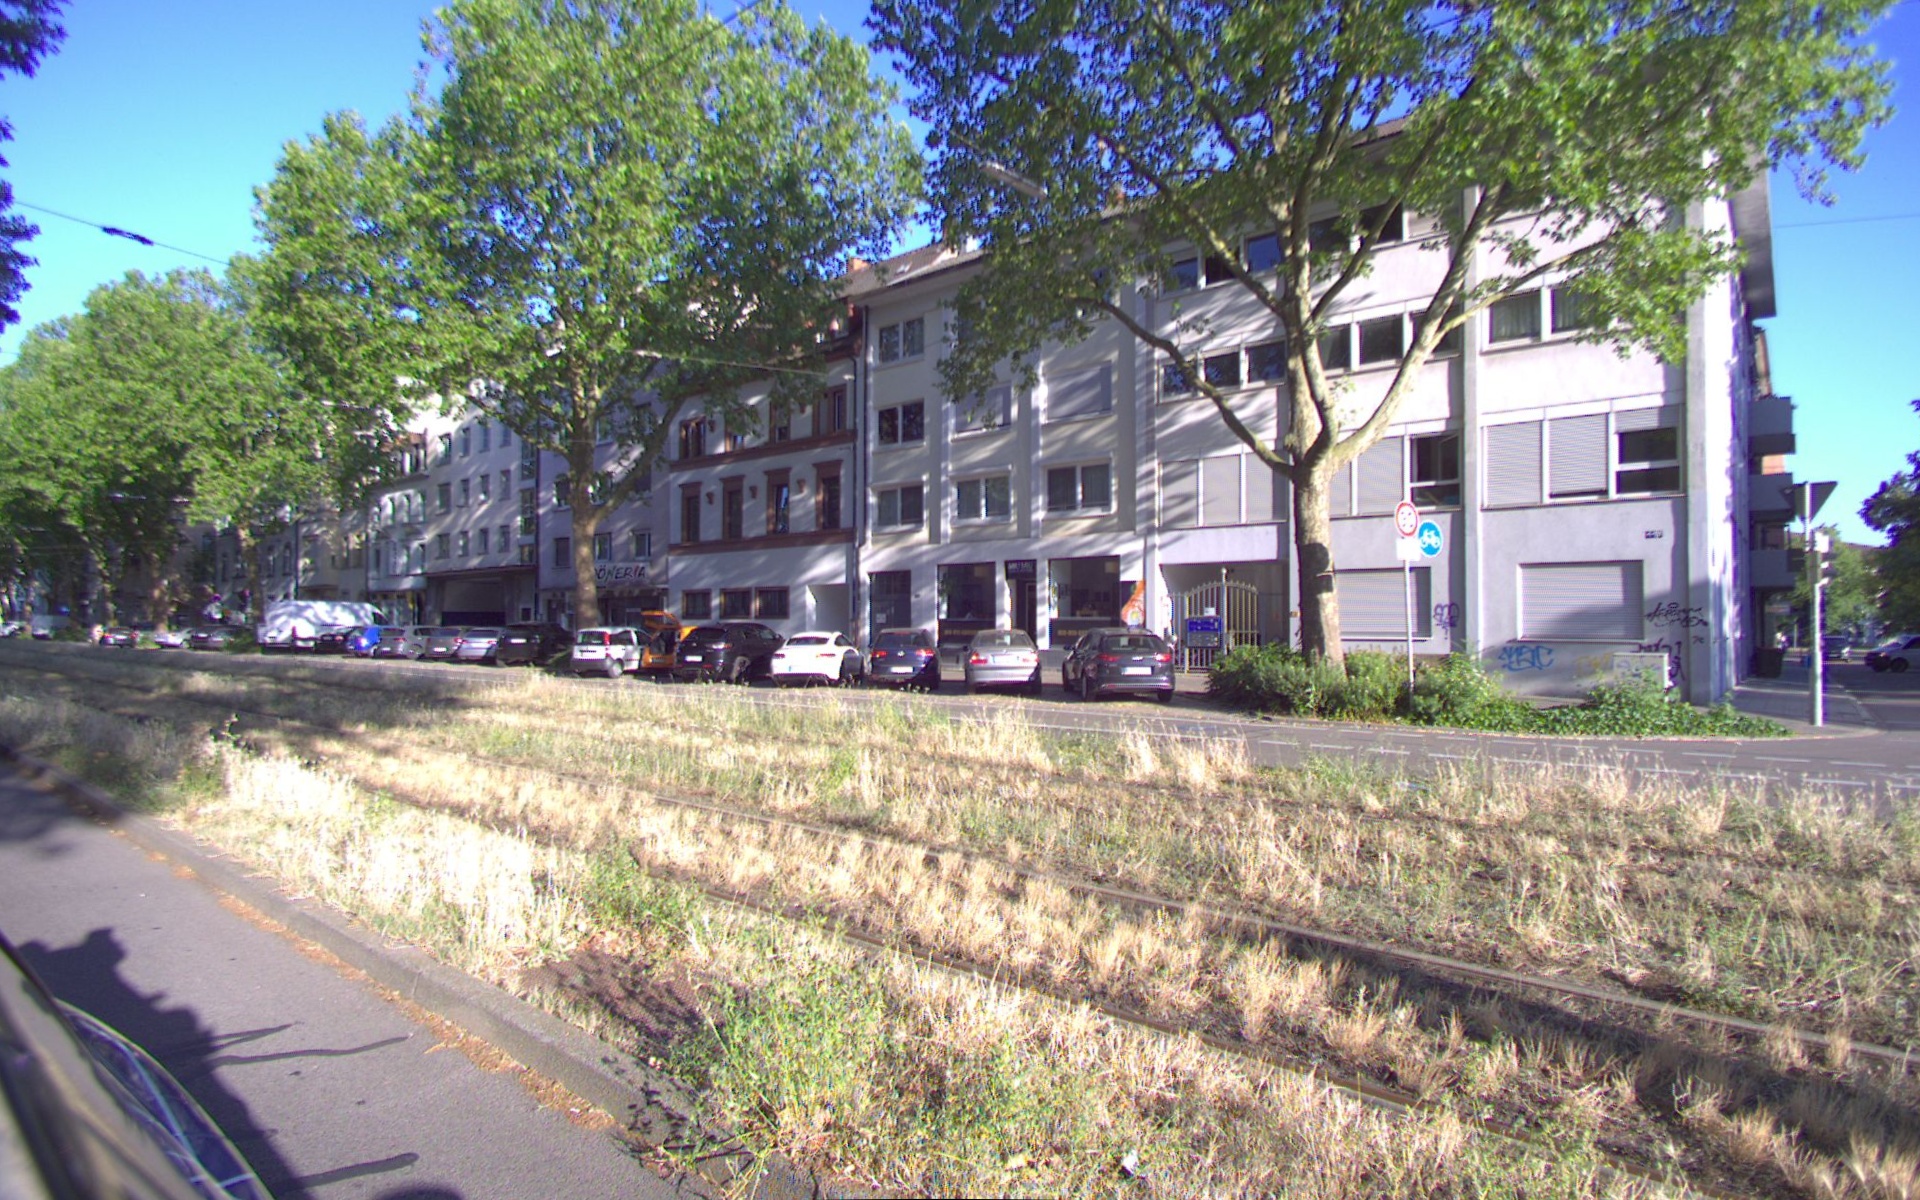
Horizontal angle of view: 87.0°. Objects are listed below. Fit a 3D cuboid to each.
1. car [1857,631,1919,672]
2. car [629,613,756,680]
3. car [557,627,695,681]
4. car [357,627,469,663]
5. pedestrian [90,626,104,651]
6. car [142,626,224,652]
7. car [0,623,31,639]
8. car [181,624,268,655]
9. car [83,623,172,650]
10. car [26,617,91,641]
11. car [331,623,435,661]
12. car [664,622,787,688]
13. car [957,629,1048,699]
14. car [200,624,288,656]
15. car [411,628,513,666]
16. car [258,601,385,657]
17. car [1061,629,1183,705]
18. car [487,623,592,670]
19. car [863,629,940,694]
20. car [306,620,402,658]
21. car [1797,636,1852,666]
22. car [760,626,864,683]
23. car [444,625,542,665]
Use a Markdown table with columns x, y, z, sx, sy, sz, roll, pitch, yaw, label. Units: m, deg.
| x | y | z | sx | sy | sz | roll | pitch | yaw | label |
| --- | --- | --- | --- | --- | --- | --- | --- | --- | --- |
| 49.238 | 2.597 | 51.184 | 5.372 | 2.029 | 1.991 | 0 | -2 | 14 | car |
| -8.294 | 1.426 | 31.733 | 1.508 | 1.958 | 4.221 | -1 | -2 | 25 | car |
| -10.320 | 1.630 | 31.593 | 1.634 | 1.569 | 4.221 | -1 | -2 | 25 | car |
| -23.844 | 1.936 | 44.269 | 1.985 | 1.530 | 3.973 | 0 | -2 | 20 | car |
| -55.883 | 2.518 | 65.525 | 0.422 | 1.610 | 0.612 | -1 | -2 | 41 | pedestrian |
| -51.856 | 2.593 | 67.611 | 1.980 | 1.719 | 3.982 | 0 | -2 | 13 | car |
| -107.264 | 3.453 | 113.891 | 3.937 | 1.827 | 1.876 | 2 | -2 | -40 | car |
| -45.134 | 2.418 | 62.227 | 1.980 | 1.830 | 3.982 | 0 | -2 | 13 | car |
| -55.242 | 2.420 | 67.197 | 1.996 | 1.719 | 4.184 | -1 | -2 | 36 | car |
| -88.312 | 2.848 | 99.247 | 2.071 | 2.230 | 4.943 | 0 | -2 | -2 | car |
| -26.273 | 1.883 | 46.240 | 1.980 | 1.630 | 3.982 | 0 | -2 | 13 | car |
| -6.490 | 1.494 | 28.534 | 2.126 | 1.697 | 4.250 | 0 | -2 | 6 | car |
| 0.887 | 1.400 | 23.261 | 1.717 | 1.443 | 3.973 | -1 | -2 | -2 | car |
| -42.539 | 2.363 | 60.233 | 1.980 | 1.830 | 3.982 | 0 | -2 | 13 | car |
| -20.454 | 1.903 | 41.787 | 1.883 | 1.468 | 4.251 | 0 | -2 | 4 | car |
| -33.041 | 1.503 | 52.607 | 2.161 | 2.721 | 5.583 | 0 | -2 | 16 | car |
| 3.284 | 1.330 | 21.230 | 1.746 | 1.443 | 3.973 | 0 | -2 | -2 | car |
| -15.328 | 1.660 | 37.153 | 1.883 | 1.626 | 4.252 | 0 | -2 | 4 | car |
| -1.451 | 1.484 | 25.615 | 1.805 | 1.516 | 3.973 | 0 | -2 | -2 | car |
| -30.593 | 1.945 | 51.237 | 1.980 | 1.830 | 3.982 | 0 | -2 | 13 | car |
| 62.868 | 3.666 | 73.700 | 1.991 | 2.029 | 5.371 | -1 | -2 | 29 | car |
| -3.783 | 1.383 | 26.636 | 2.123 | 1.388 | 4.257 | 0 | -2 | 0 | car |
| -18.116 | 1.714 | 39.481 | 1.582 | 1.470 | 4.251 | 0 | -2 | 4 | car |
